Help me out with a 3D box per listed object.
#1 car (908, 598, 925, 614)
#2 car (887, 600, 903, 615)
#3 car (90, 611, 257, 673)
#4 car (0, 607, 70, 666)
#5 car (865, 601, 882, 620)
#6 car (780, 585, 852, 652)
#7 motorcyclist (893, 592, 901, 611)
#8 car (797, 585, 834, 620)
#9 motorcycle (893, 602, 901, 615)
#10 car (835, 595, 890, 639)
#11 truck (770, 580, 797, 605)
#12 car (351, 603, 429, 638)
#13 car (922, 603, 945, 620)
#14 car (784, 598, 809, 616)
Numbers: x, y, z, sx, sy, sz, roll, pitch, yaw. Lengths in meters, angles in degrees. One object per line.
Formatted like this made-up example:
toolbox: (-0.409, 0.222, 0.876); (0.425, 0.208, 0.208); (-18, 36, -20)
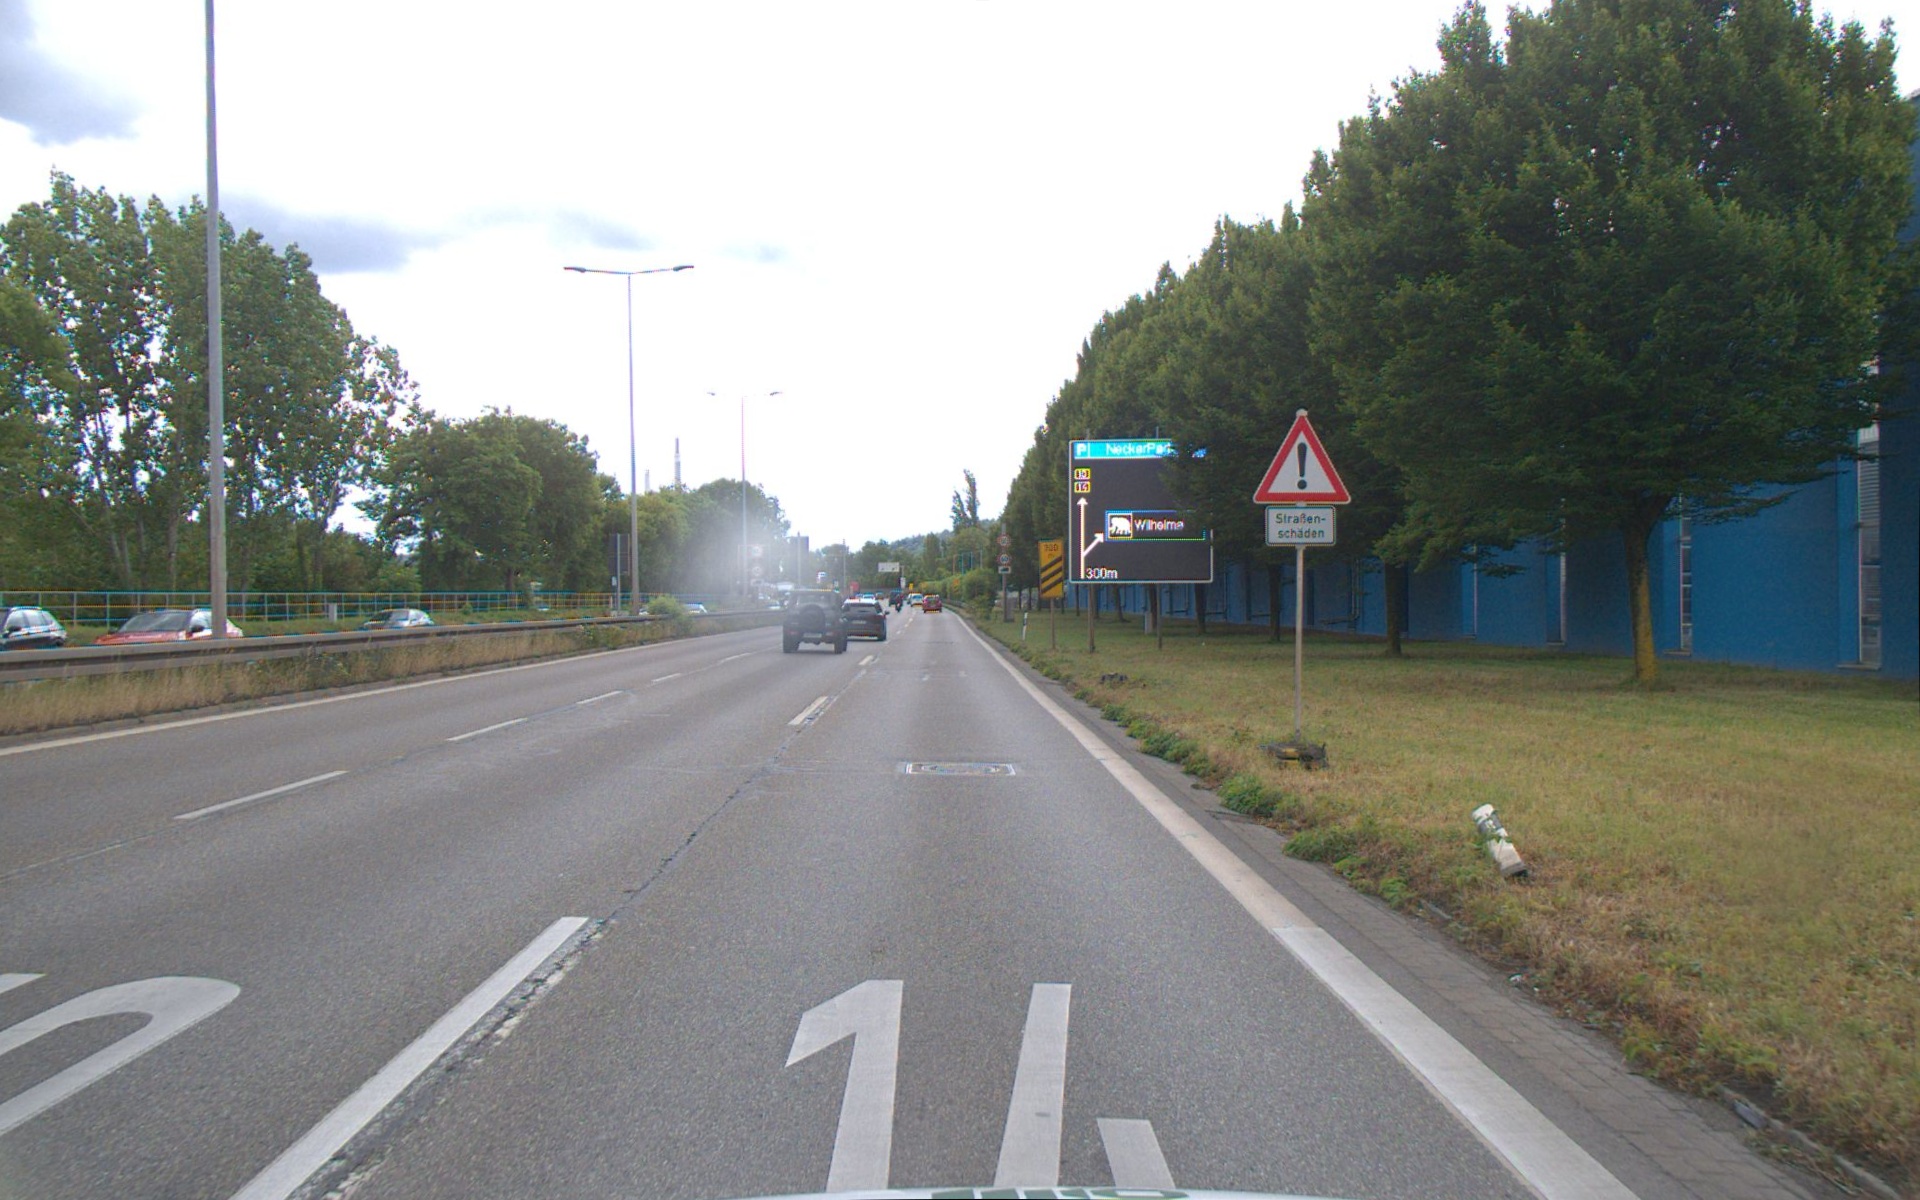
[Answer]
car: (-5.348, 0.752, 203.844); (1.973, 1.968, 4.898); (-2, 0, -2)
car: (-8.588, 0.977, 218.407); (1.973, 1.968, 4.898); (-2, 0, -2)
car: (-15.889, 0.822, 33.623); (1.514, 1.125, 4.066); (0, 0, -1)
car: (-22.607, 0.843, 38.563); (1.546, 1.322, 4.060); (0, 0, -1)
car: (-8.835, 1.072, 168.522); (1.664, 1.772, 4.389); (-2, 0, -4)
car: (-3.928, 0.477, 45.649); (1.663, 1.715, 3.999); (2, 0, -1)
motorcyclist: (-6.079, 0.159, 160.101); (0.775, 1.791, 0.923); (0, 0, -1)
car: (-7.620, 0.113, 87.484); (1.663, 1.772, 3.999); (2, 0, -2)
motorcycle: (-6.092, 0.856, 160.047); (0.775, 1.240, 2.329); (0, 0, -1)
car: (-3.484, 0.596, 59.745); (1.808, 1.448, 4.898); (-2, 0, -2)
truck: (-26.562, -1.079, 249.825); (2.829, 3.641, 9.588); (-1, 0, 1)
car: (-22.931, 0.802, 66.663); (1.626, 1.322, 4.786); (0, 0, -2)
car: (-2.391, 1.066, 149.163); (1.935, 1.448, 4.898); (-2, 0, -2)
car: (-19.309, 0.841, 195.408); (2.180, 1.982, 5.474); (-1, 0, 1)
